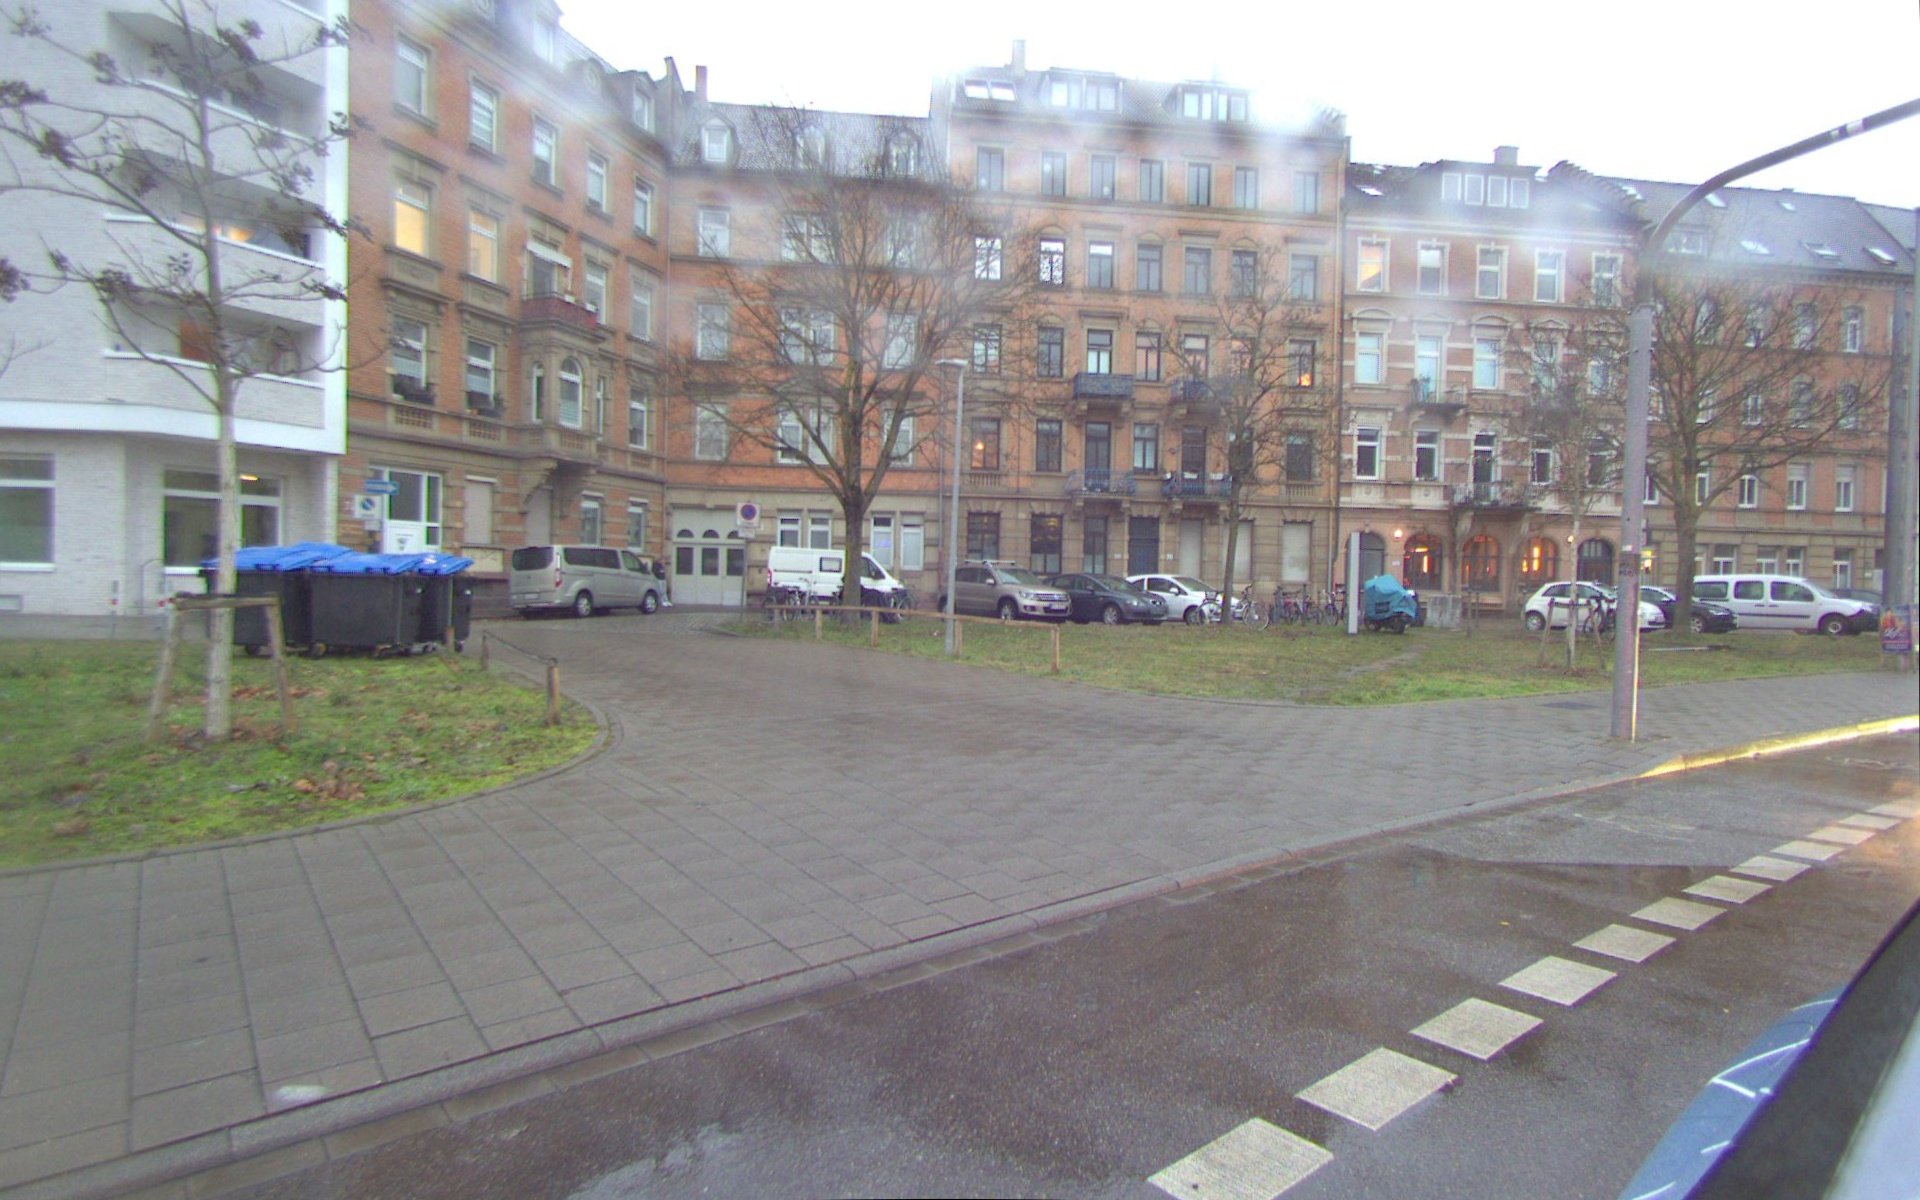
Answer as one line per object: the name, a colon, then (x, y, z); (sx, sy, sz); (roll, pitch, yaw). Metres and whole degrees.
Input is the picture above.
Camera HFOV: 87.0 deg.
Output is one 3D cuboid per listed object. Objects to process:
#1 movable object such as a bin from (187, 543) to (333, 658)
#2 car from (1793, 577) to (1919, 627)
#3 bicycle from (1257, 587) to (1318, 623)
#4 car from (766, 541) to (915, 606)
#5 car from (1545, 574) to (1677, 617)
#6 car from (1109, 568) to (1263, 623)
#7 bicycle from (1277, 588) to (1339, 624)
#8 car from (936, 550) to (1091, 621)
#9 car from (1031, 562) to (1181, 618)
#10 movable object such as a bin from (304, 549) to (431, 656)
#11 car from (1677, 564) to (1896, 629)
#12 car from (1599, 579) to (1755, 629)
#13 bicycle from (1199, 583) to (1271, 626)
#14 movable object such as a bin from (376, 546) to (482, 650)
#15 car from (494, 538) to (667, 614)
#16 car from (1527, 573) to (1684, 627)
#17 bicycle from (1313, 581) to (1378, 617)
movable object such as a bin: (-9.670, 0.001, 14.029); (1.304, 1.514, 1.031); (1, 1, 0)
car: (27.080, 0.083, 29.415); (1.737, 1.250, 4.066); (2, 3, -35)
bicycle: (9.442, 0.140, 29.267); (0.613, 0.978, 2.175); (3, -1, -13)
car: (-4.079, -0.907, 34.514); (4.885, 2.038, 2.004); (1, 2, -8)
car: (24.245, -0.130, 37.729); (3.967, 1.520, 1.740); (1, -1, -9)
car: (6.073, -0.158, 27.539); (1.669, 1.353, 3.852); (0, 1, -42)
bicycle: (10.067, 0.163, 29.386); (0.613, 0.978, 2.175); (3, -1, -13)
car: (1.319, -0.434, 26.457); (1.908, 1.656, 3.999); (-1, 3, -37)
car: (3.798, -0.262, 26.743); (1.649, 1.372, 3.737); (2, 0, -42)
movable object such as a bin: (-8.291, 0.015, 14.210); (1.200, 1.433, 1.018); (1, 2, -3)
car: (24.077, -0.168, 29.668); (1.745, 1.611, 4.663); (0, 3, -37)
car: (20.987, 0.095, 29.723); (1.634, 1.368, 3.430); (1, 0, -39)
bicycle: (6.630, 0.103, 24.422); (1.628, 0.948, 0.512); (2, 1, 15)
movable object such as a bin: (-8.038, -0.018, 15.356); (1.022, 1.509, 1.035); (0, -1, 6)
car: (-10.571, -0.581, 28.606); (1.976, 1.943, 4.715); (-1, -1, 21)
car: (18.412, 0.012, 29.003); (1.583, 1.461, 3.467); (1, 0, -34)
bicycle: (11.145, -0.046, 29.327); (0.613, 0.978, 2.176); (1, 2, -13)
